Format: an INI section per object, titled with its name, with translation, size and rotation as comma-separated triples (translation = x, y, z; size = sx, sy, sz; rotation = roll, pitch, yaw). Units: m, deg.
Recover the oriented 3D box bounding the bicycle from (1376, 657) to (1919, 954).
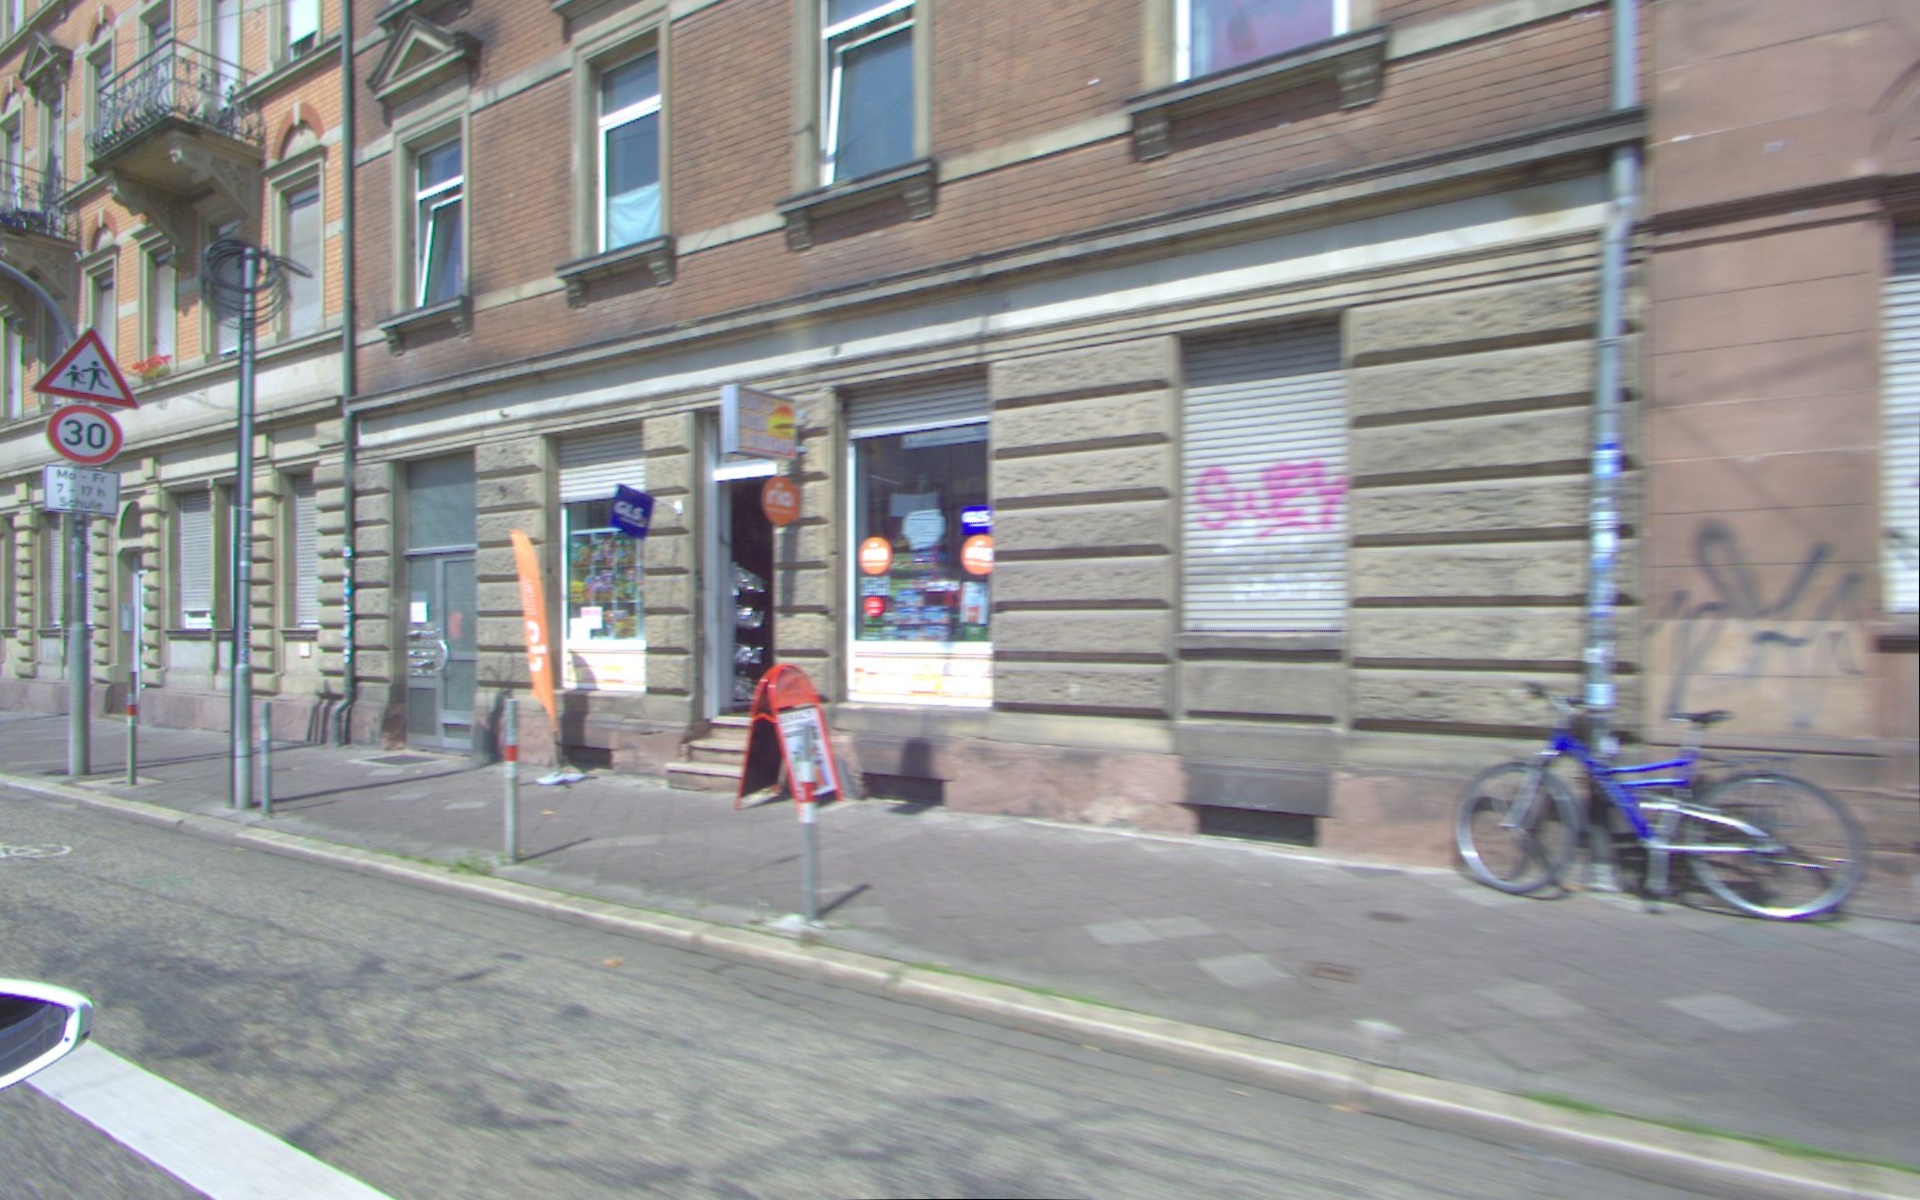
[bicycle]
translation = 3.327, 0.923, 5.100
size = 2.173, 1.194, 0.585
rotation = 0, 0, 33
